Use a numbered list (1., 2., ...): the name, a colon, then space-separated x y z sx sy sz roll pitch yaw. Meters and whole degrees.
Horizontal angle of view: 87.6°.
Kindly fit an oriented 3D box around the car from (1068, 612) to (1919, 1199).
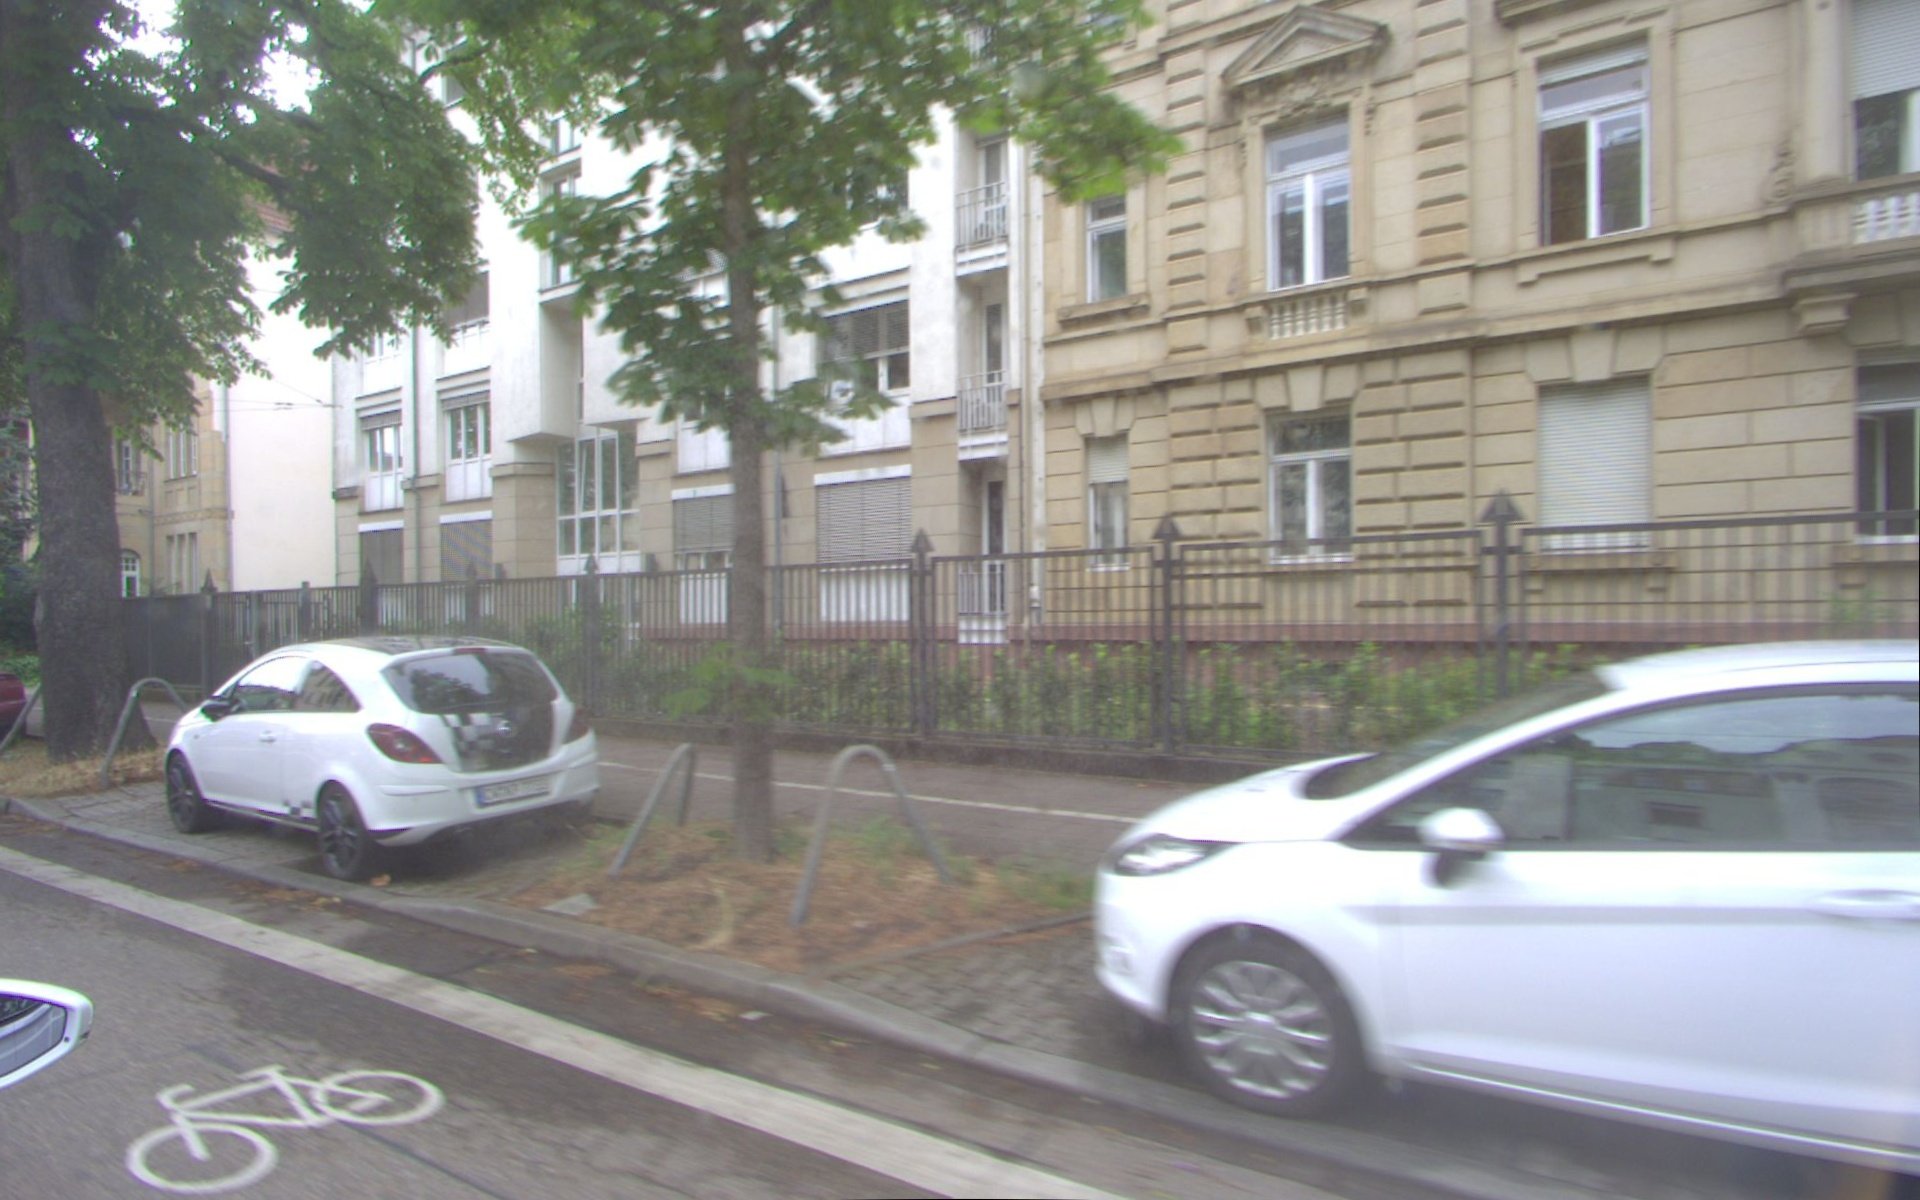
1. car: 2.372 0.797 3.115 3.711 1.455 1.623 -1 1 32

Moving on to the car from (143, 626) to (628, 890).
1. car: -4.365 0.955 7.471 3.724 1.455 1.598 -1 1 33

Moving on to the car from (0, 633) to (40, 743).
1. car: -14.478 1.194 13.795 4.167 1.418 1.598 -1 1 33
